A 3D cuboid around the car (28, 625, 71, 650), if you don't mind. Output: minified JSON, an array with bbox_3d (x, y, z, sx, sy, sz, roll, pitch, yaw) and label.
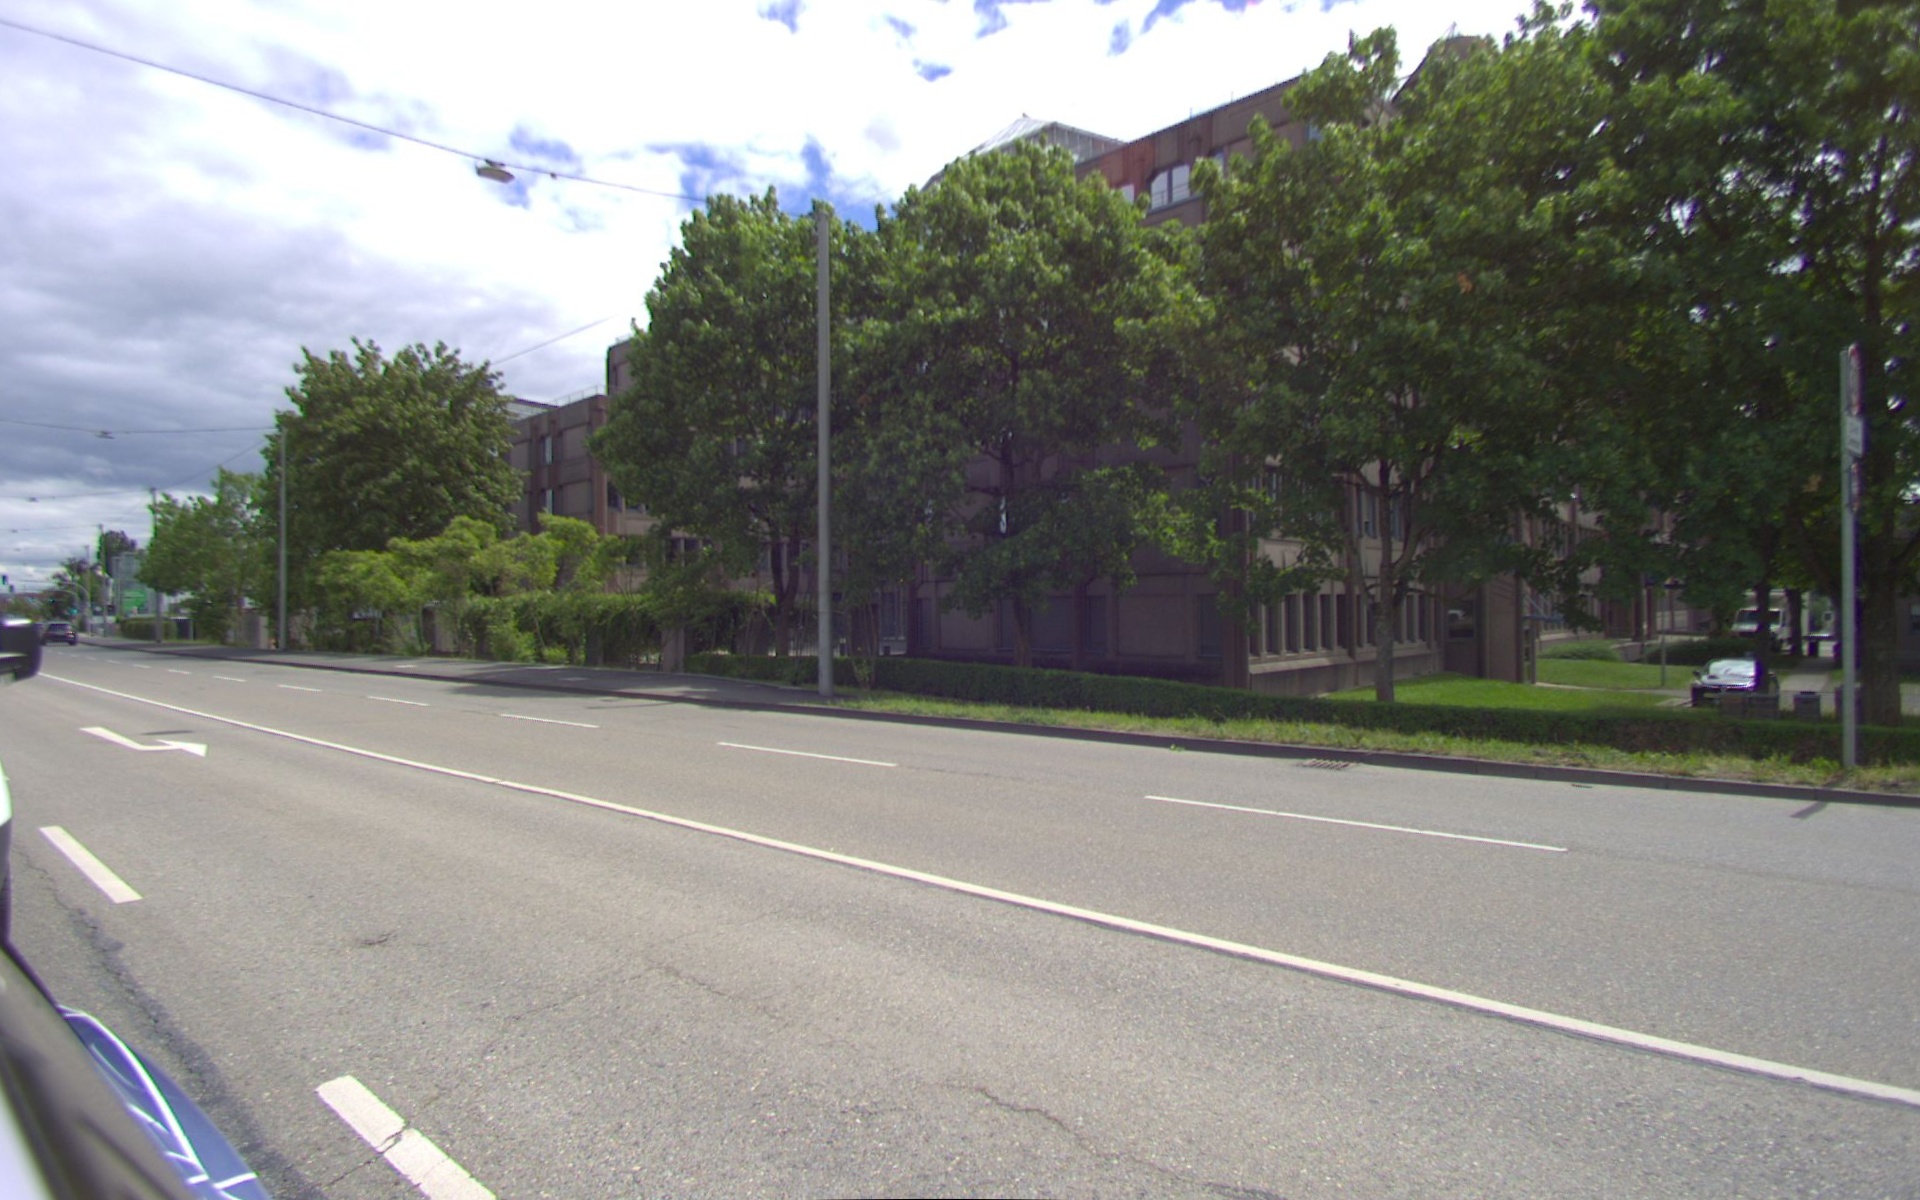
[{"bbox_3d":[-62.381,2.549,69.312,4.572,1.627,1.847,-1,-1,43],"label":"car"}]

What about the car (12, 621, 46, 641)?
[{"bbox_3d":[-80.477,2.684,87.451,4.312,1.597,1.777,-1,0,42],"label":"car"}]

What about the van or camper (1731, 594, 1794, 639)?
[{"bbox_3d":[39.619,0.772,49.939,2.356,2.120,5.136,0,0,39],"label":"van or camper"}]

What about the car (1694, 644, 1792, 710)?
[{"bbox_3d":[22.697,2.185,29.306,1.787,1.741,3.941,-1,-3,44],"label":"car"}]

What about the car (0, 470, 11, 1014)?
[{"bbox_3d":[-6.174,0.576,4.981,5.884,1.932,1.971,-2,-2,45],"label":"car"}]
